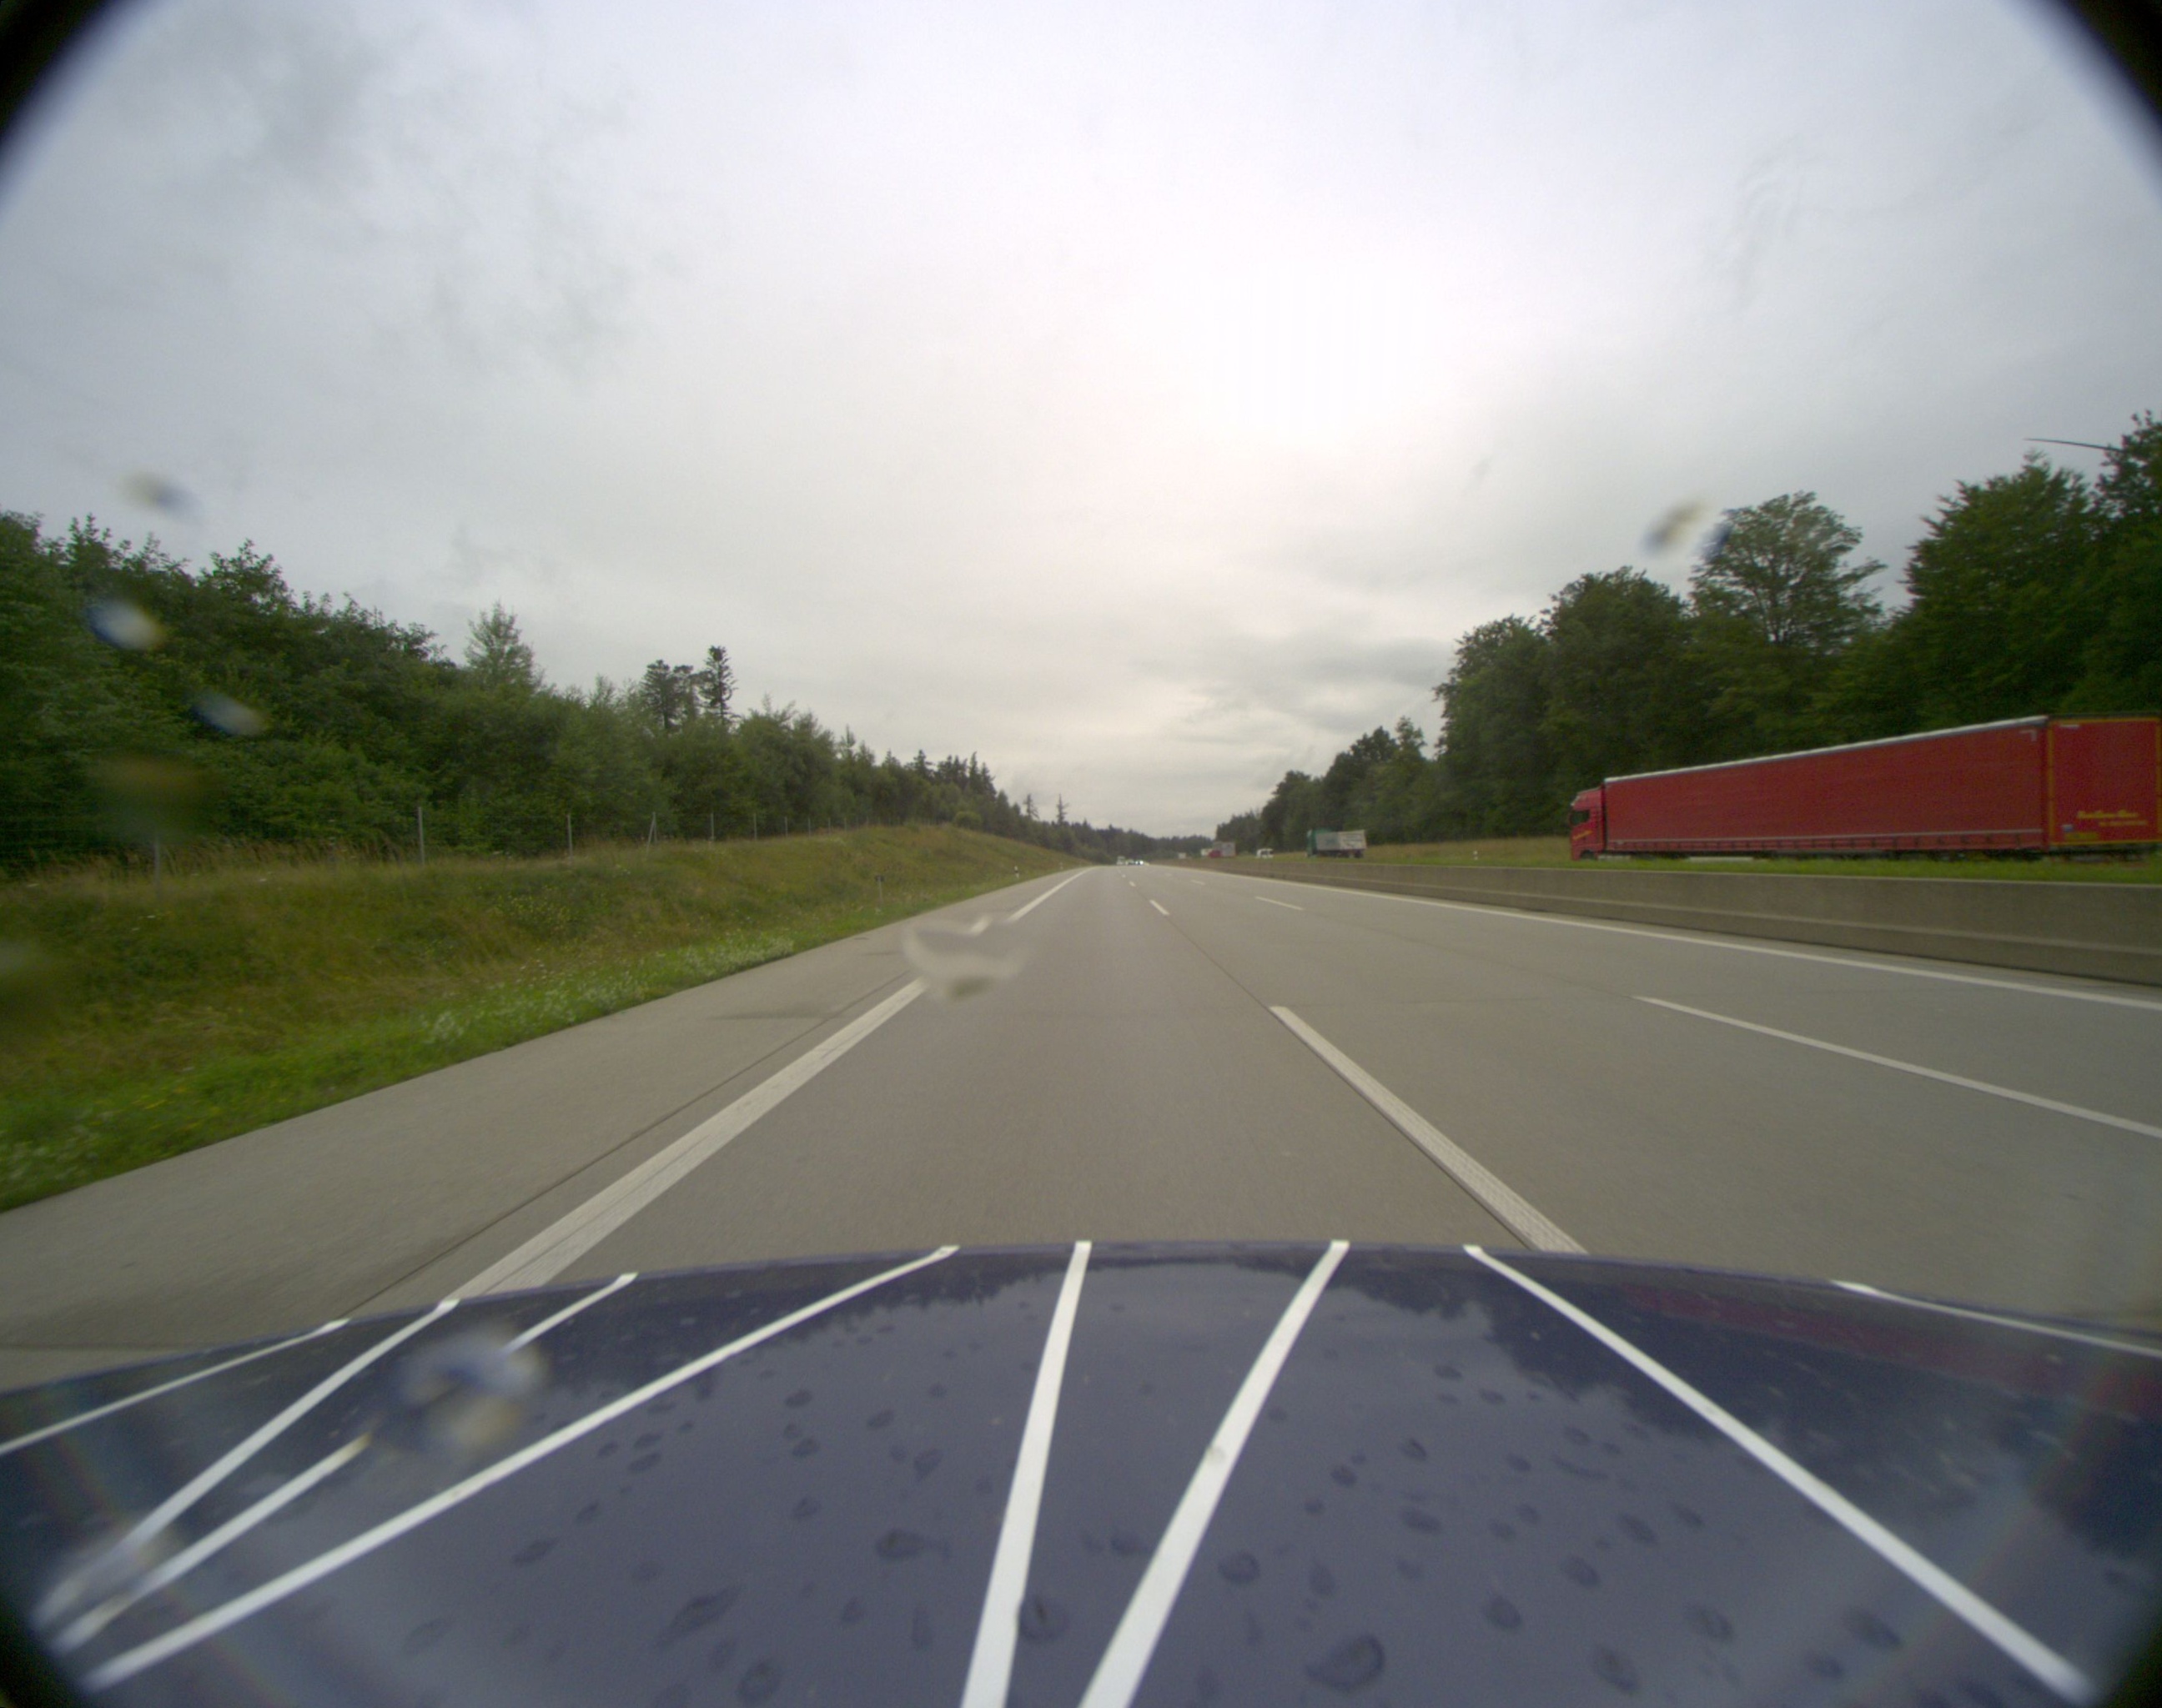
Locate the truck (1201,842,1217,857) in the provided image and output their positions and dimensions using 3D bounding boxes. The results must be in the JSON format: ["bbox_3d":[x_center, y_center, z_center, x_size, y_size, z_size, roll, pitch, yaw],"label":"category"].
[{"bbox_3d":[23.984,-0.877,142.569,2.273,2.772,6.512,-2,0,3],"label":"truck"}]

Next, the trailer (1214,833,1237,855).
[{"bbox_3d":[29.062,-1.912,153.346,2.504,4.079,13.977,-2,0,3],"label":"trailer"}]

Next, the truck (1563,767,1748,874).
[{"bbox_3d":[23.746,-1.249,31.955,2.559,3.905,6.947,-2,0,2],"label":"truck"}]

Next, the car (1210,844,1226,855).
[{"bbox_3d":[24.359,-0.753,135.253,1.998,1.871,5.314,-2,0,4],"label":"car"}]

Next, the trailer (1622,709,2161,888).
[{"bbox_3d":[23.567,-1.249,24.206,2.614,3.921,14.379,-2,0,1],"label":"trailer"}]

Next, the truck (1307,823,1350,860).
[{"bbox_3d":[26.095,-1.287,80.325,2.787,3.718,5.661,-2,0,2],"label":"truck"}]

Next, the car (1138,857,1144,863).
[{"bbox_3d":[19.003,1.987,240.726,1.764,1.871,4.000,-2,0,1],"label":"car"}]

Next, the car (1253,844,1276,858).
[{"bbox_3d":[22.255,-0.348,92.170,1.784,1.590,4.561,-2,0,2],"label":"car"}]

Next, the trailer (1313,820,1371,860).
[{"bbox_3d":[25.979,-1.292,76.048,2.811,3.678,9.013,-2,0,2],"label":"trailer"}]

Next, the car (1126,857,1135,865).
[{"bbox_3d":[14.560,2.003,222.549,2.213,2.001,4.836,-3,-2,1],"label":"car"}]
